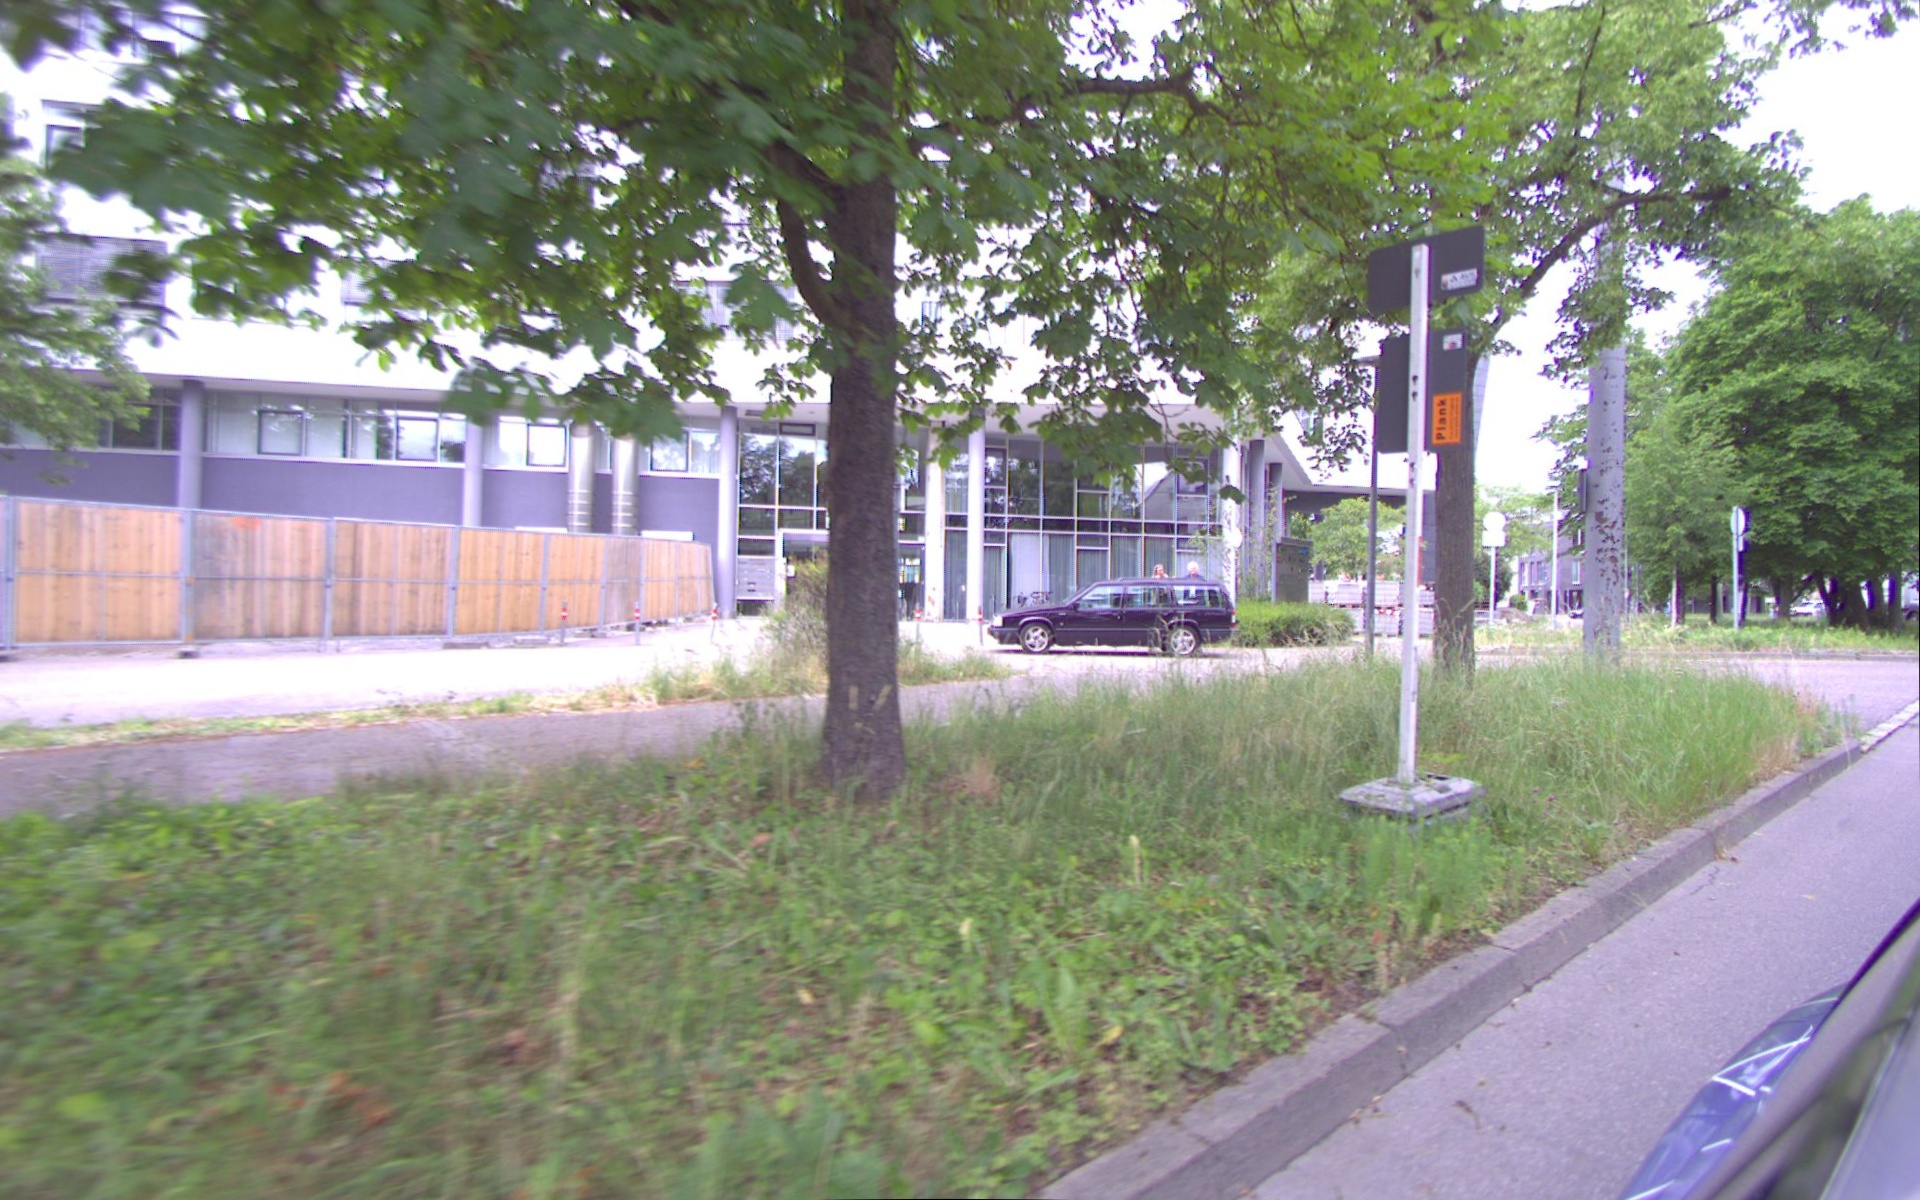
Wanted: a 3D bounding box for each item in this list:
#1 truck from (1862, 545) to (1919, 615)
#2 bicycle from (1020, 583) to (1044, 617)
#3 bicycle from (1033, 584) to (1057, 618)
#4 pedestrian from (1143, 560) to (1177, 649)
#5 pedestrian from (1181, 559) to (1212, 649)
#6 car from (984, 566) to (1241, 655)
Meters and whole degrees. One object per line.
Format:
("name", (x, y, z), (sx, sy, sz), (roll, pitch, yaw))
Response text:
("truck", (46.020, -0.934, 47.927), (2.404, 3.235, 6.432), (0, 1, 17))
("bicycle", (2.306, 0.005, 32.587), (0.384, 1.085, 1.403), (-1, 0, -12))
("bicycle", (2.765, 0.041, 33.006), (0.384, 1.085, 1.403), (-1, 0, -12))
("pedestrian", (4.048, 0.101, 20.461), (0.492, 1.747, 0.533), (4, -1, 19))
("pedestrian", (4.797, 0.077, 20.519), (0.469, 1.777, 0.580), (4, -1, 19))
("car", (2.845, 0.159, 19.558), (4.659, 1.535, 1.869), (1, 1, 5))
